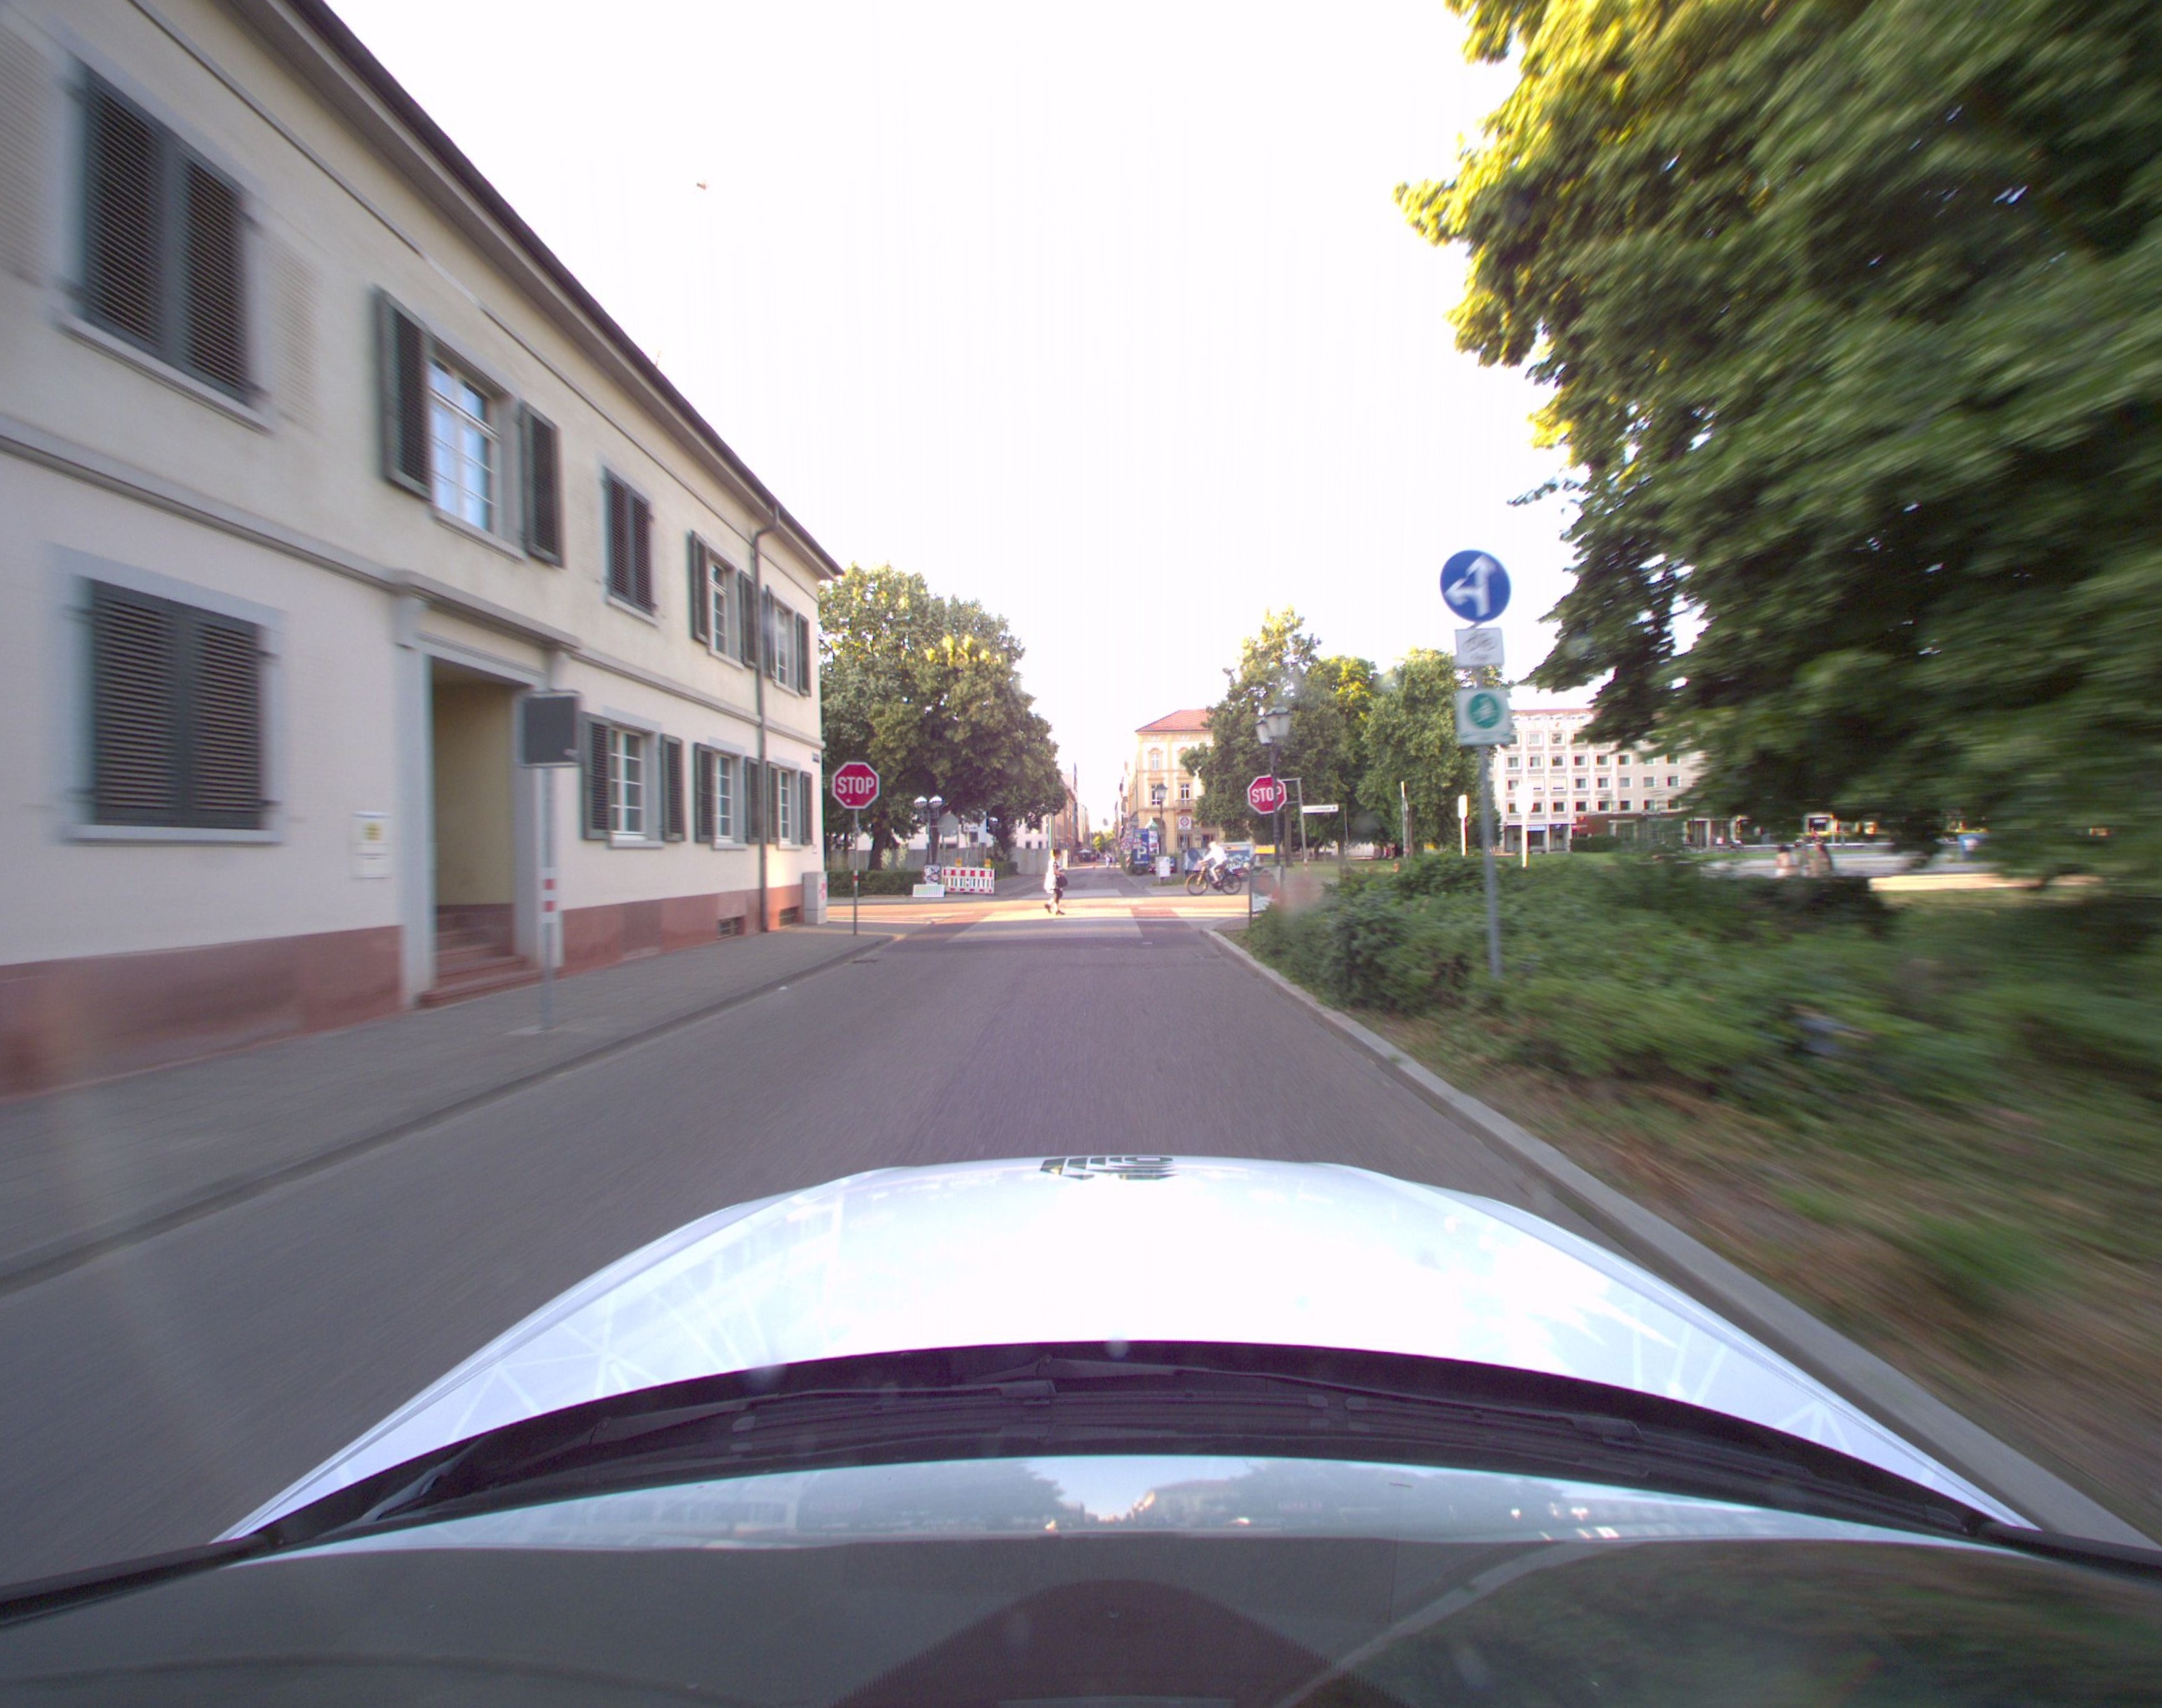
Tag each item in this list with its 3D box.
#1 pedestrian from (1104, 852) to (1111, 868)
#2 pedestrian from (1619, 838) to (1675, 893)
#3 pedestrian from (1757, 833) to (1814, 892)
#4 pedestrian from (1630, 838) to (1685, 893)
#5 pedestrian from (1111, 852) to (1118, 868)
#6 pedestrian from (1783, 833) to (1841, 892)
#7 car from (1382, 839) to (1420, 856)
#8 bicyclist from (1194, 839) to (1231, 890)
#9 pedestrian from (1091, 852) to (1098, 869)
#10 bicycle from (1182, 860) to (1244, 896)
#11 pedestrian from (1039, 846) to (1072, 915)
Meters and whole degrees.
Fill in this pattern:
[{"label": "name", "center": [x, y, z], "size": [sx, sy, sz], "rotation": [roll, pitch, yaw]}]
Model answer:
[{"label": "pedestrian", "center": [2.721, 0.590, 84.433], "size": [0.655, 1.617, 0.745], "rotation": [-2, 0, 2]}, {"label": "pedestrian", "center": [13.135, 0.265, 18.901], "size": [0.685, 1.237, 0.811], "rotation": [-2, 0, -29]}, {"label": "pedestrian", "center": [16.606, 0.199, 19.217], "size": [0.595, 1.342, 0.817], "rotation": [-2, 0, -4]}, {"label": "pedestrian", "center": [13.660, 0.275, 19.309], "size": [0.600, 1.261, 0.865], "rotation": [-2, 0, -29]}, {"label": "pedestrian", "center": [3.482, 0.624, 84.366], "size": [0.655, 1.617, 0.745], "rotation": [-2, 0, 2]}, {"label": "pedestrian", "center": [17.262, 0.197, 19.248], "size": [0.595, 1.342, 0.817], "rotation": [-2, 0, -4]}, {"label": "car", "center": [40.644, -0.838, 103.351], "size": [4.015, 2.013, 2.001], "rotation": [-2, 0, 2]}, {"label": "bicyclist", "center": [4.364, 0.340, 27.145], "size": [1.059, 1.633, 0.595], "rotation": [-2, 0, -6]}, {"label": "pedestrian", "center": [1.430, 0.674, 85.756], "size": [0.655, 1.760, 0.745], "rotation": [-2, 0, 2]}, {"label": "bicycle", "center": [4.395, 0.790, 27.128], "size": [1.925, 1.121, 0.595], "rotation": [-2, 0, -6]}, {"label": "pedestrian", "center": [-0.642, 0.652, 20.666], "size": [0.731, 1.689, 0.836], "rotation": [-2, 0, 1]}]
